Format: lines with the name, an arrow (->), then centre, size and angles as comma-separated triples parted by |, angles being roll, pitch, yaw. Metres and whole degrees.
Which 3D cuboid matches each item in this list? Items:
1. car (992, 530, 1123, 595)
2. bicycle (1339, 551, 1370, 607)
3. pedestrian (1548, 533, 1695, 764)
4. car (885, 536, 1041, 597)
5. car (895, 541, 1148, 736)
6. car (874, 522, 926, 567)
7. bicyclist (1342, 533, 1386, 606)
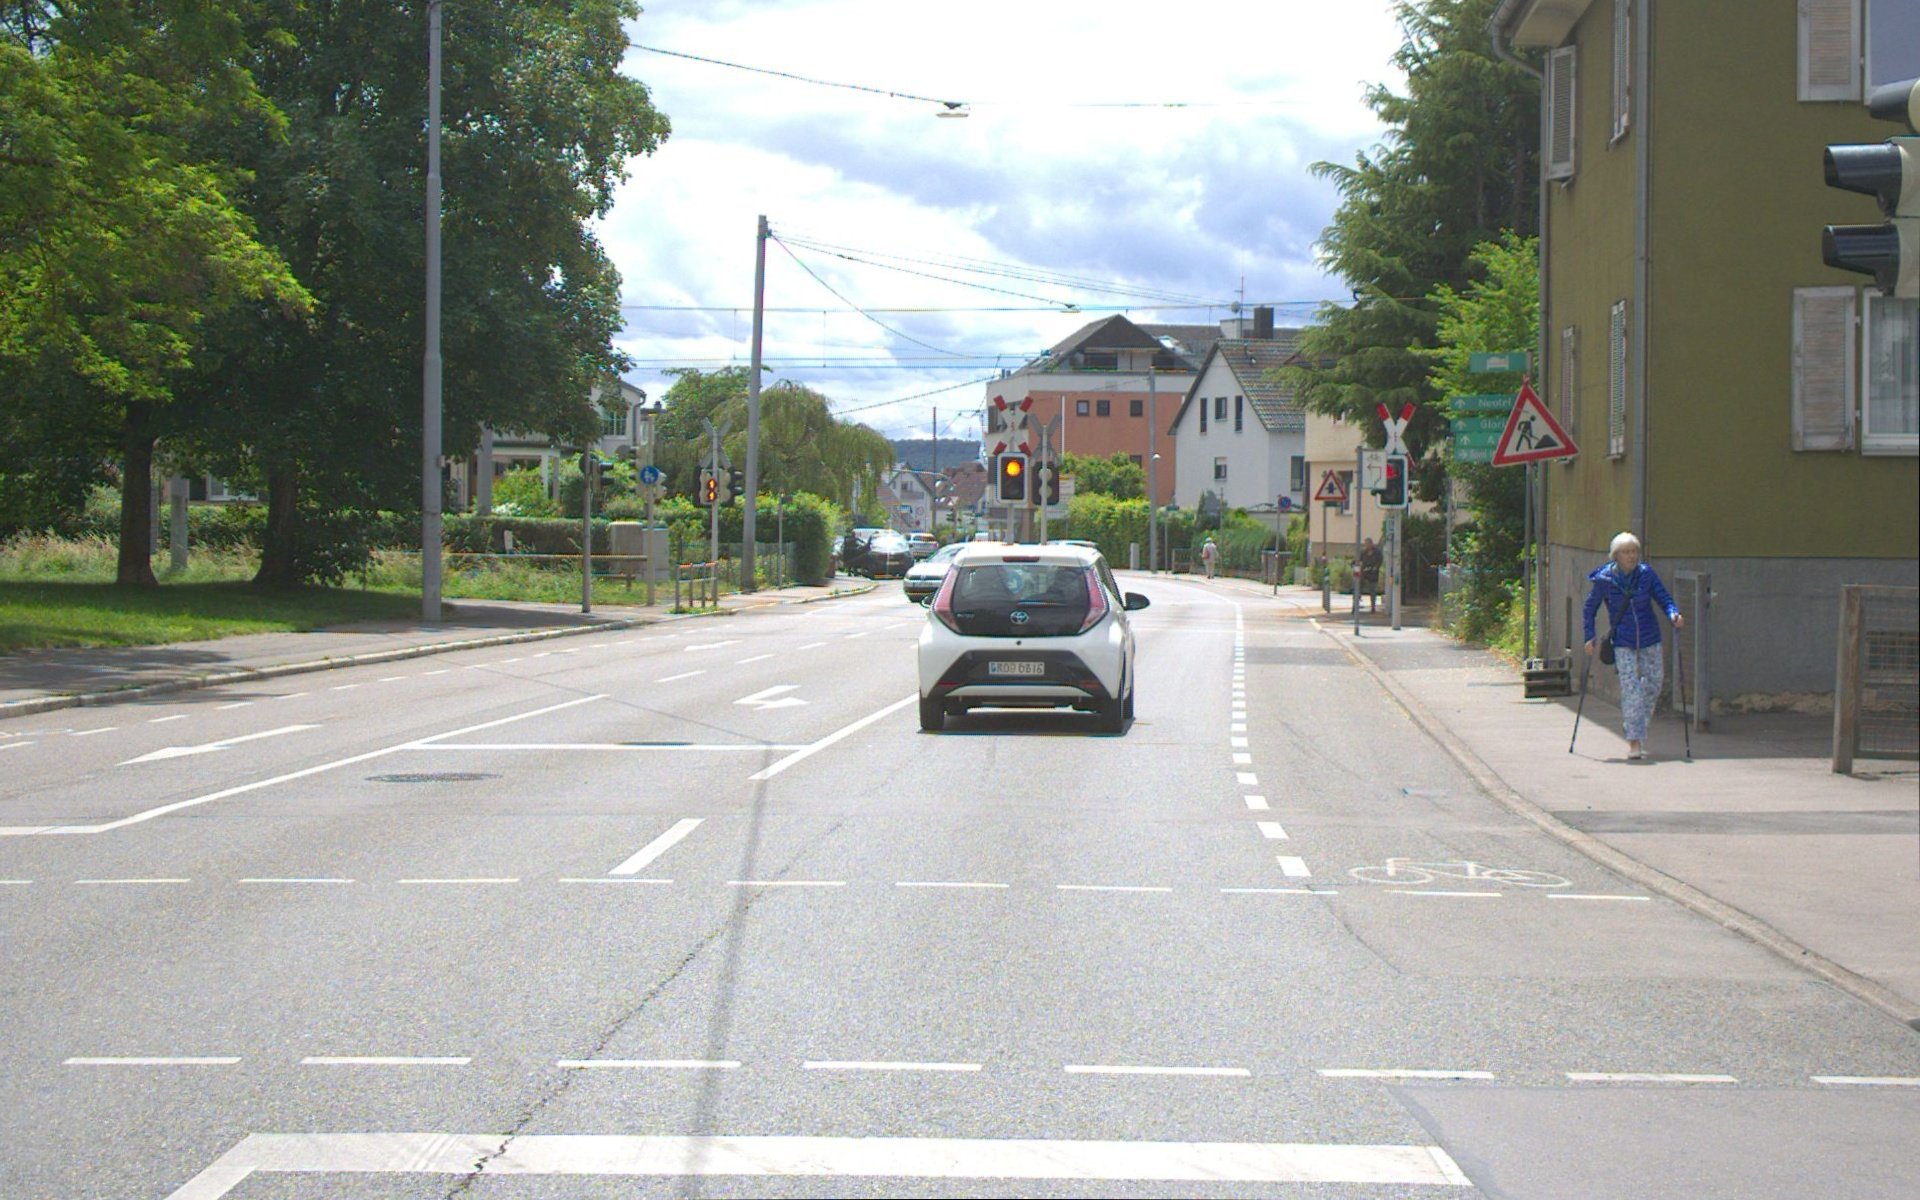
car -> 2.643, -1.024, 93.811 | 3.348, 1.650, 1.728 | 2, 1, -5
bicycle -> 8.760, -0.470, 76.350 | 0.457, 1.168, 1.479 | -2, 3, -1
pedestrian -> 4.604, 0.323, 23.978 | 0.823, 1.567, 0.988 | -1, 1, 0
car -> 0.096, -0.824, 85.350 | 1.909, 1.436, 4.091 | 2, 1, 33
car -> 0.566, 0.264, 28.110 | 1.721, 1.437, 3.708 | 2, 1, 6
car -> -2.404, -2.194, 136.744 | 1.993, 1.713, 4.000 | 2, 1, -1
bicyclist -> 8.962, -0.673, 76.294 | 0.840, 1.548, 0.756 | -2, 3, -1
